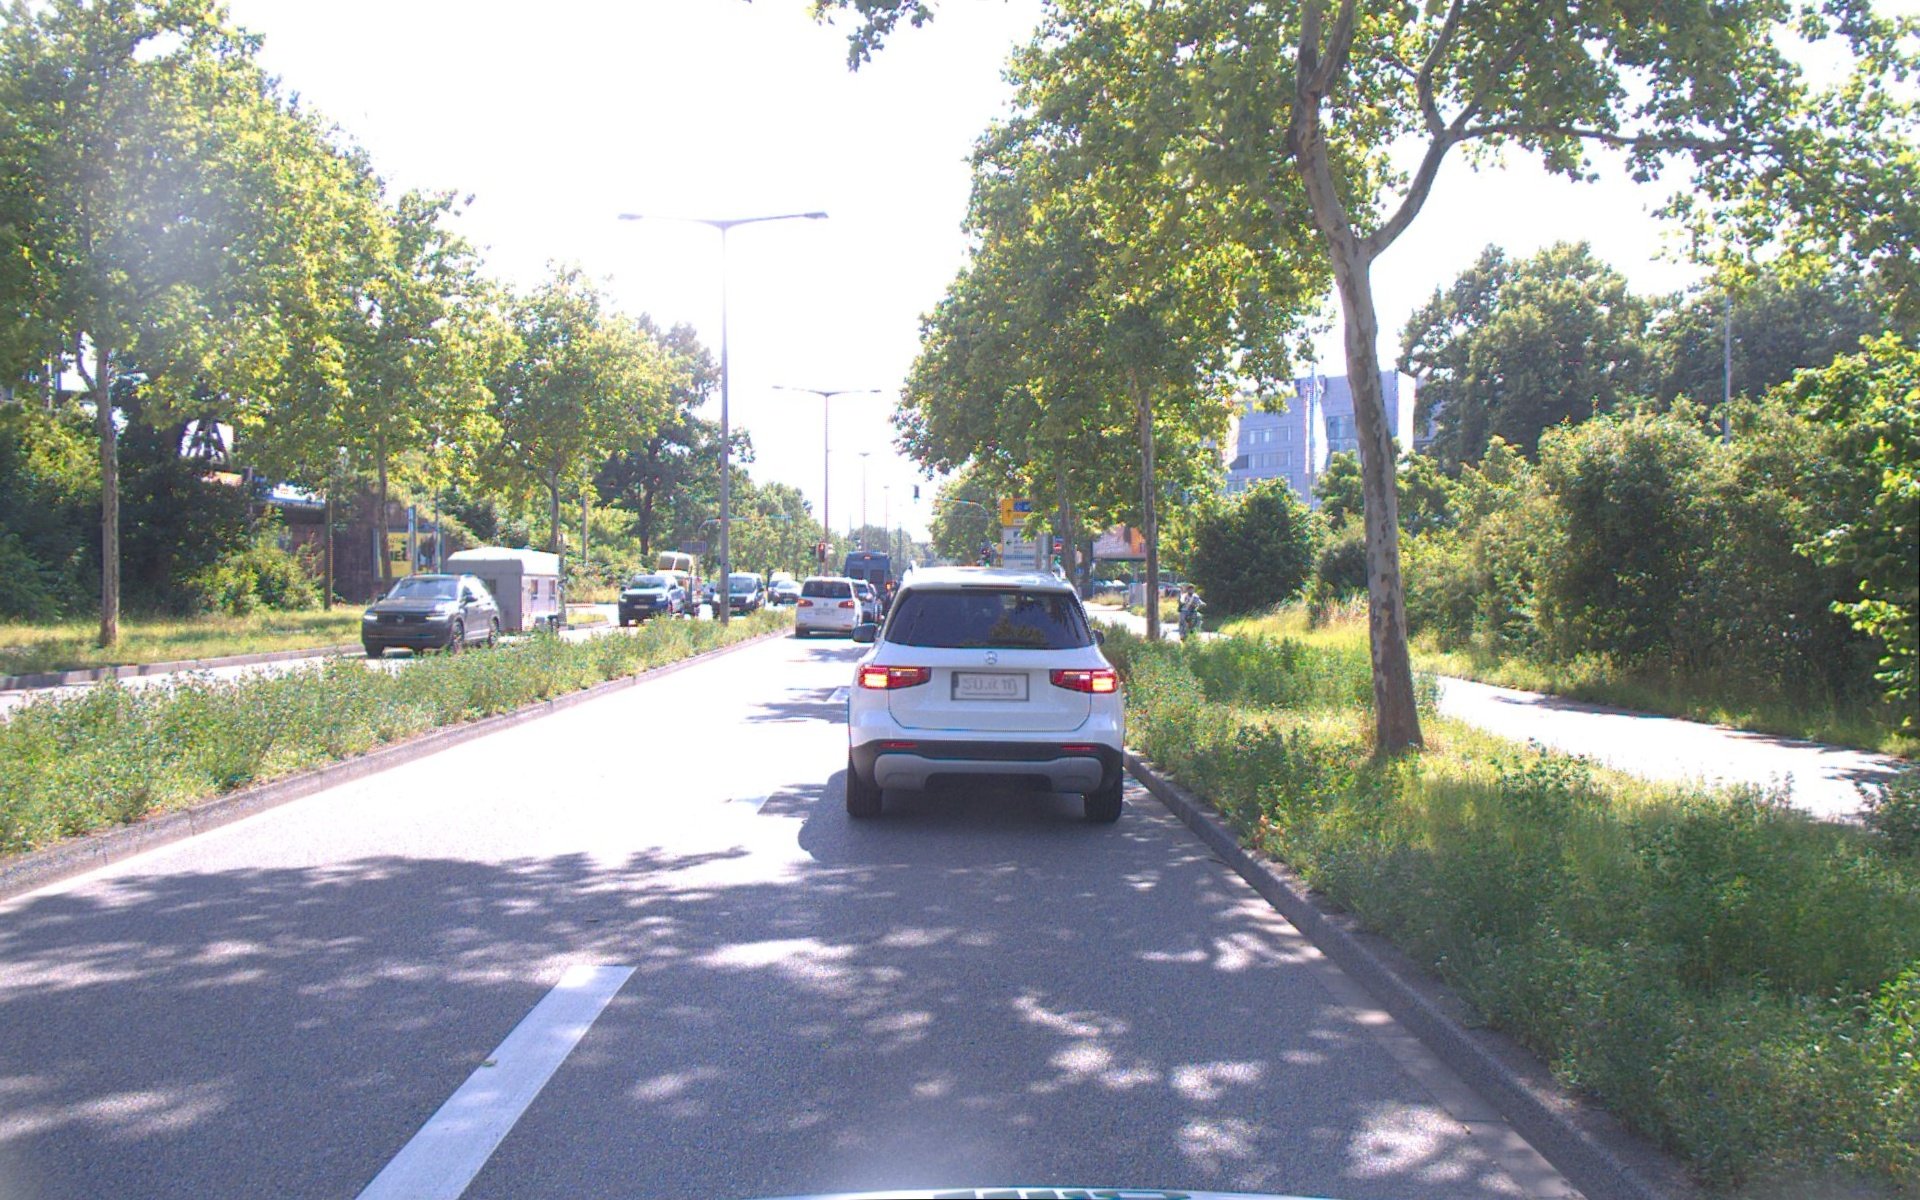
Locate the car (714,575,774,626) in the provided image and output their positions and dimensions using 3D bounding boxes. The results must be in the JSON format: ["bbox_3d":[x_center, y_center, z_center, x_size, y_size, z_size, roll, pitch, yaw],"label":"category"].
[{"bbox_3d":[-8.294,0.017,63.839,1.695,1.840,4.232,2,0,0],"label":"car"}]

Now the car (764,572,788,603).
[{"bbox_3d":[-15.157,-1.021,136.149,1.955,2.460,5.132,1,1,-7],"label":"car"}]

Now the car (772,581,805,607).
[{"bbox_3d":[-10.197,-0.349,98.490,1.570,1.497,3.790,1,0,0],"label":"car"}]

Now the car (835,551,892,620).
[{"bbox_3d":[-3.948,-0.594,68.489,2.039,2.703,4.874,2,0,0],"label":"car"}]

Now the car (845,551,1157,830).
[{"bbox_3d":[0.115,0.533,11.896,1.817,1.635,3.996,1,0,-4],"label":"car"}]

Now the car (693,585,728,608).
[{"bbox_3d":[-15.553,-0.240,103.260,1.667,1.388,3.645,1,1,-2],"label":"car"}]

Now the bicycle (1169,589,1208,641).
[{"bbox_3d":[5.995,0.378,43.551,0.708,1.321,2.095,1,0,0],"label":"bicycle"}]

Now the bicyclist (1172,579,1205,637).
[{"bbox_3d":[6.017,0.208,43.547,0.689,1.503,1.009,1,0,0],"label":"bicyclist"}]

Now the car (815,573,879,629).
[{"bbox_3d":[-3.554,0.028,52.450,1.735,1.676,4.084,1,0,0],"label":"car"}]

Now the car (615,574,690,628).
[{"bbox_3d":[-11.269,0.013,60.886,1.728,1.821,5.375,2,0,0],"label":"car"}]

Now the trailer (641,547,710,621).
[{"bbox_3d":[-11.280,-0.622,65.818,1.841,2.791,4.828,2,0,0],"label":"trailer"}]

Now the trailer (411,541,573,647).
[{"bbox_3d":[-10.949,-0.149,39.203,2.262,2.305,5.538,1,0,0],"label":"trailer"}]

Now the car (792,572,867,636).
[{"bbox_3d":[-3.618,0.086,46.327,1.735,1.676,4.352,1,0,0],"label":"car"}]

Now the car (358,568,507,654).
[{"bbox_3d":[-10.814,0.206,34.224,1.680,1.650,4.361,1,0,0],"label":"car"}]
